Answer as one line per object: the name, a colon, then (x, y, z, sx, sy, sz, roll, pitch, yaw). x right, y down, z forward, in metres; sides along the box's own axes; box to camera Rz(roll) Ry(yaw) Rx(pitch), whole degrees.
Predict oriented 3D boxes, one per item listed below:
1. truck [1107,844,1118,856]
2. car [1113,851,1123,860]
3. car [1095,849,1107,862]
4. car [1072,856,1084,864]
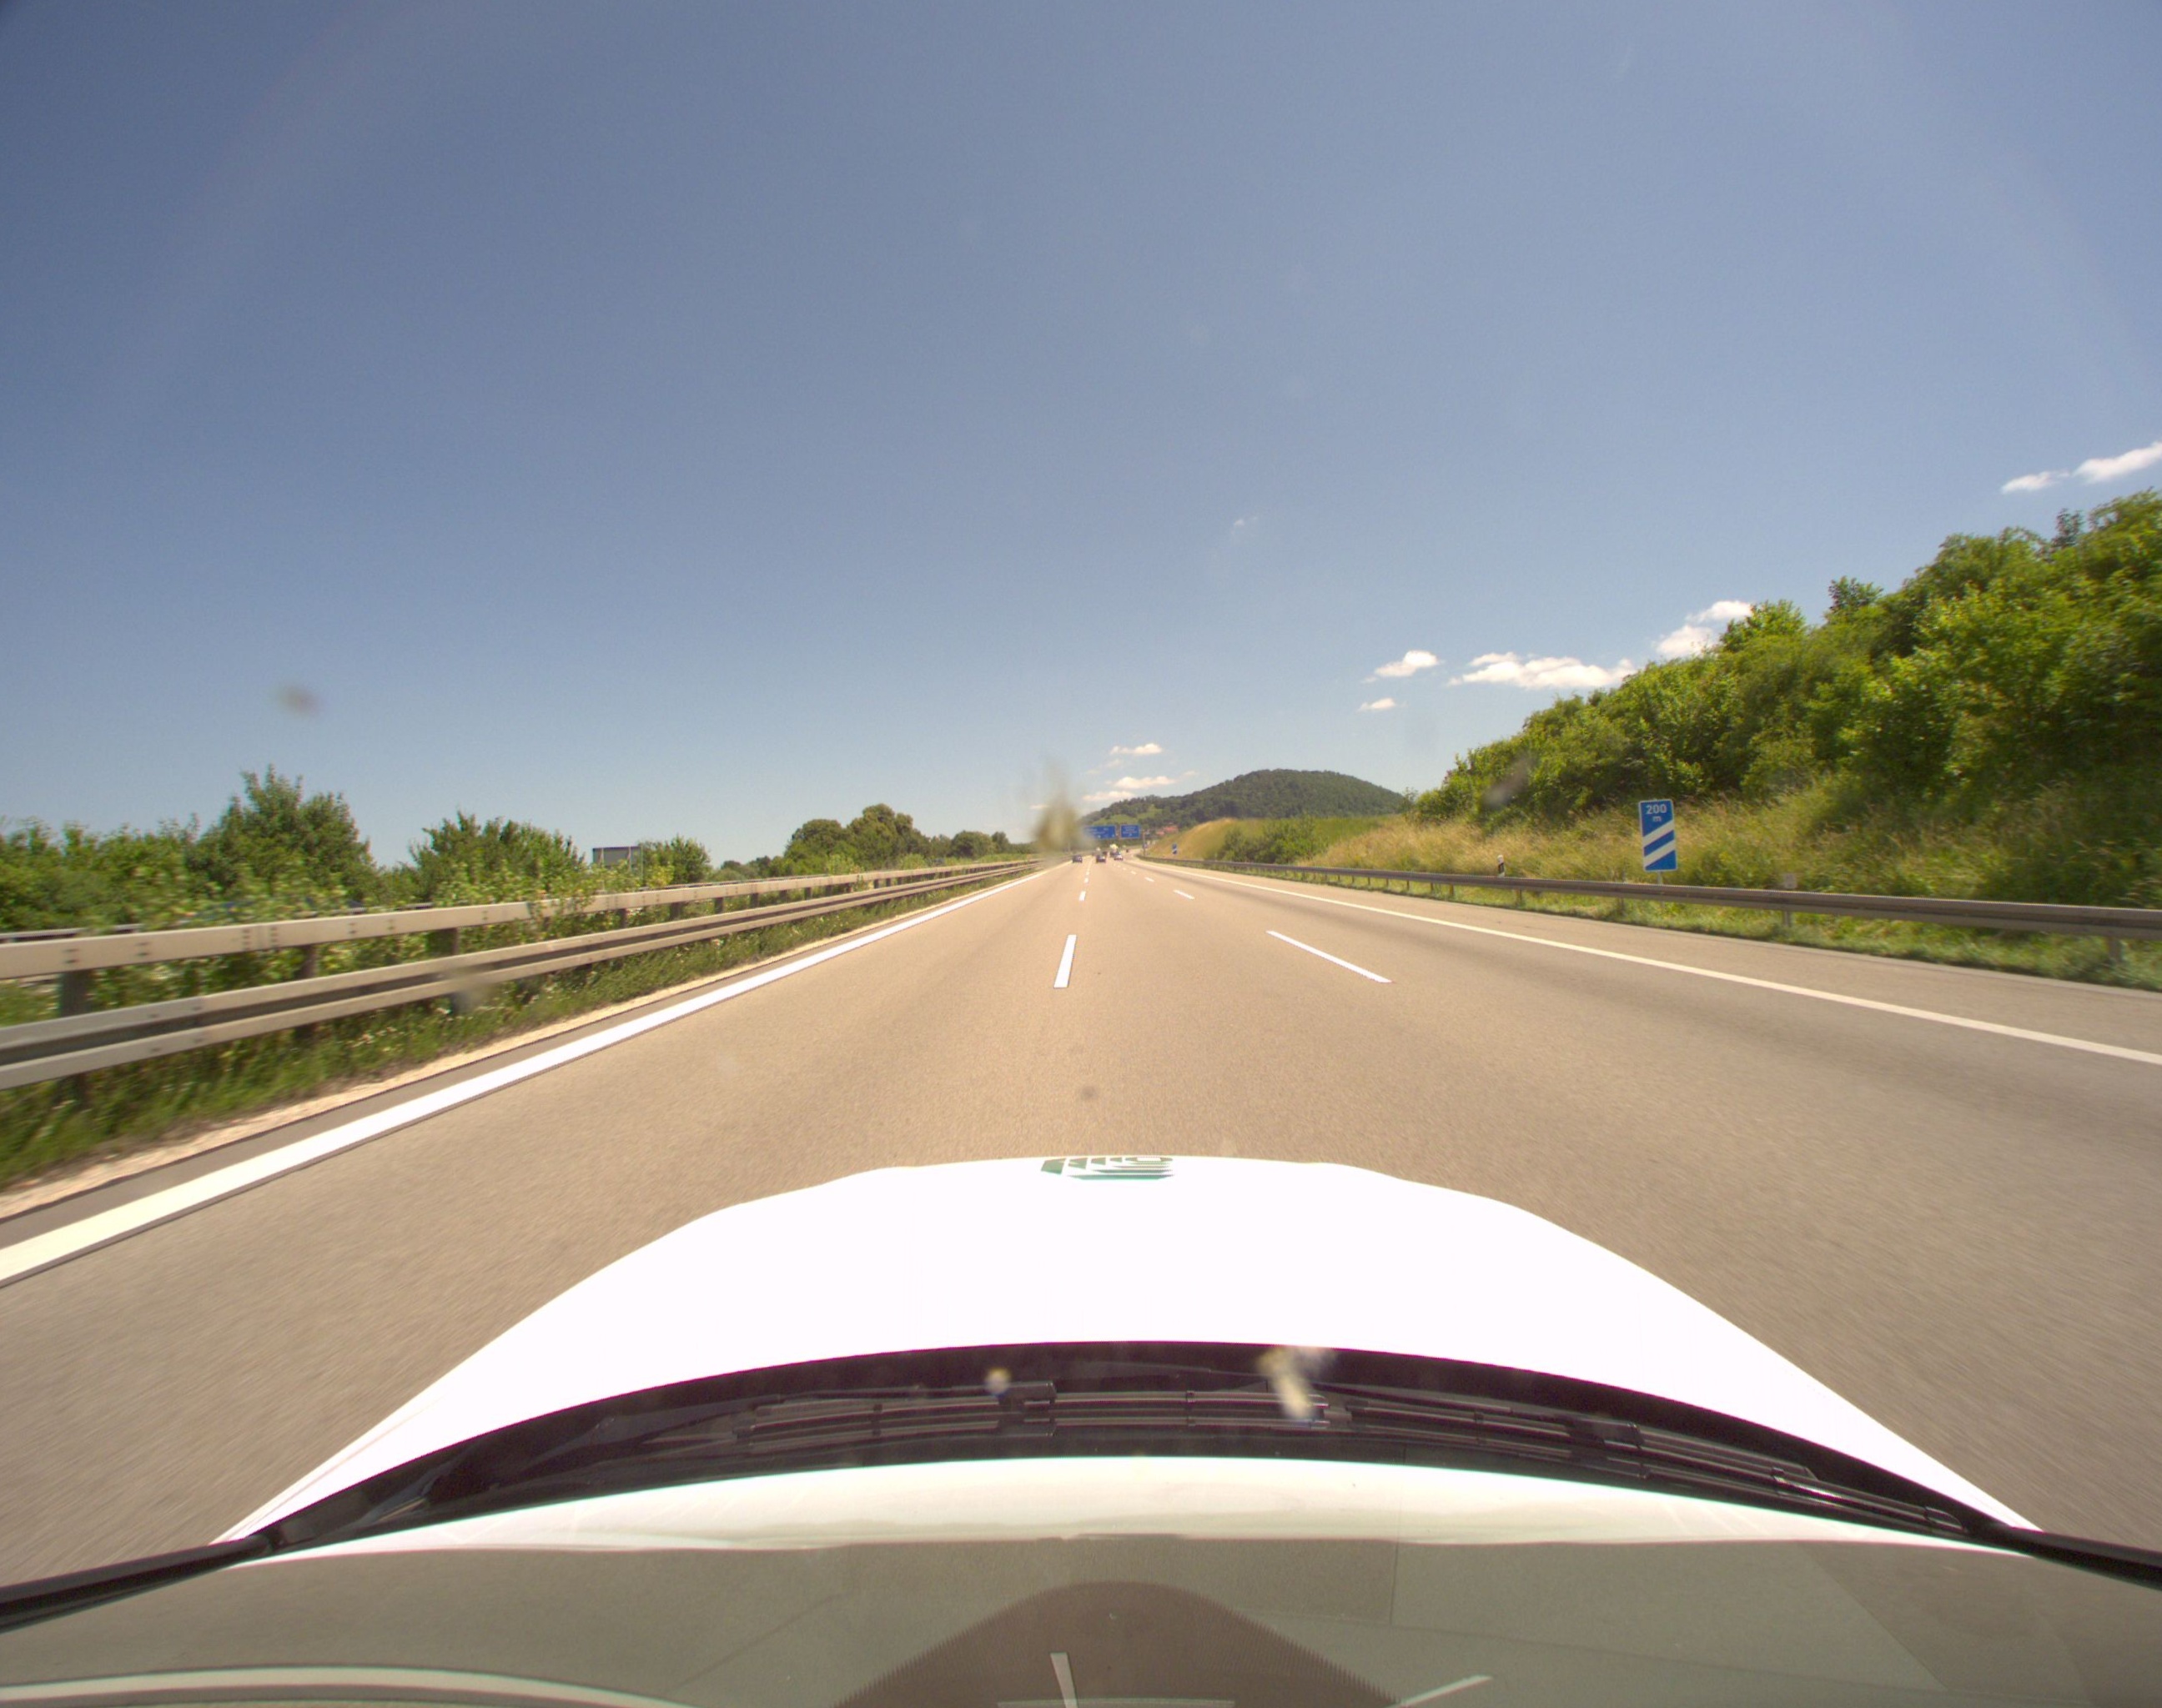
truck: (9.651, -1.230, 249.402, 3.316, 3.690, 7.605, -1, -1, 2)
car: (7.765, 0.379, 172.155, 1.986, 1.818, 4.001, -3, 0, 1)
car: (3.325, 0.295, 135.047, 1.986, 2.014, 4.001, -1, -1, 1)
car: (-0.578, 1.031, 142.658, 1.986, 1.389, 4.001, -1, -1, 1)
